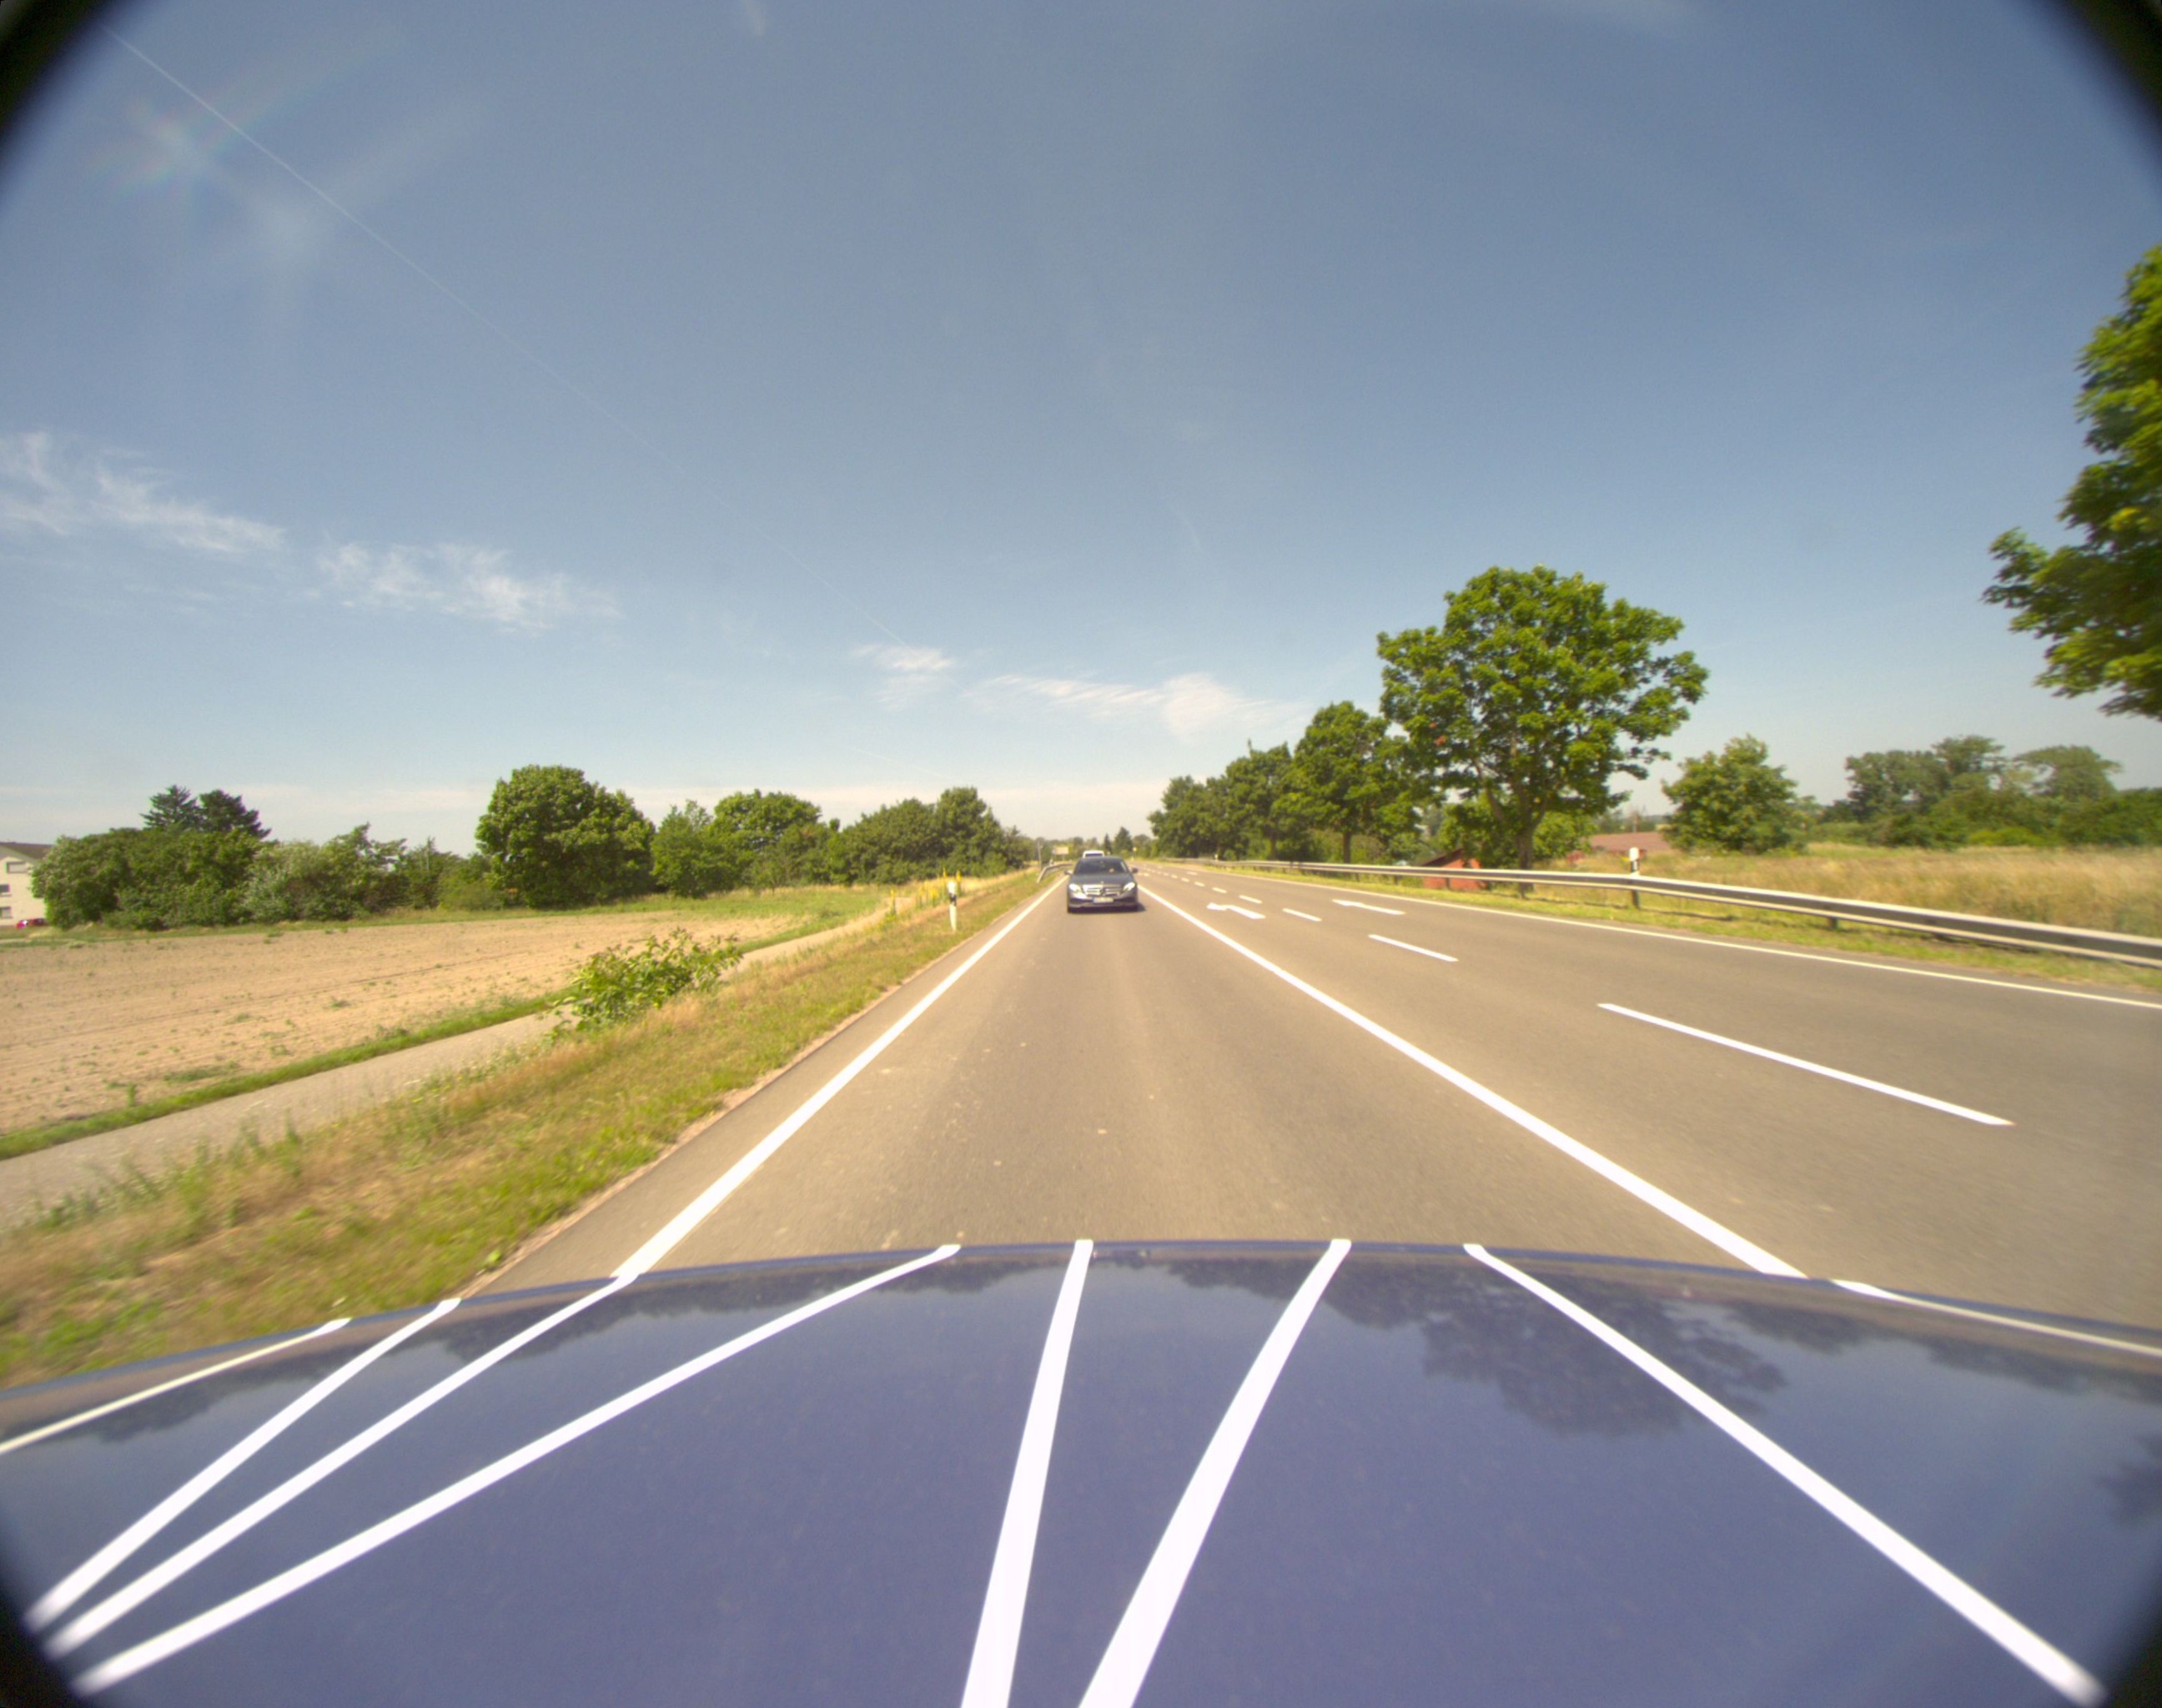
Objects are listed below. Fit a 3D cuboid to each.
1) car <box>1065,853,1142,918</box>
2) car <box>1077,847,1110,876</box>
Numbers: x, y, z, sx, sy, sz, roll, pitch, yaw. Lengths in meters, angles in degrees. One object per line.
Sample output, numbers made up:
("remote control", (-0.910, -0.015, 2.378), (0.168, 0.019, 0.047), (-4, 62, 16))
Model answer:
("car", (0.709, 0.791, 21.291), (1.831, 1.540, 4.500), (-3, 0, 4))
("car", (1.018, 0.548, 59.275), (2.179, 2.002, 5.026), (-6, 0, 3))
